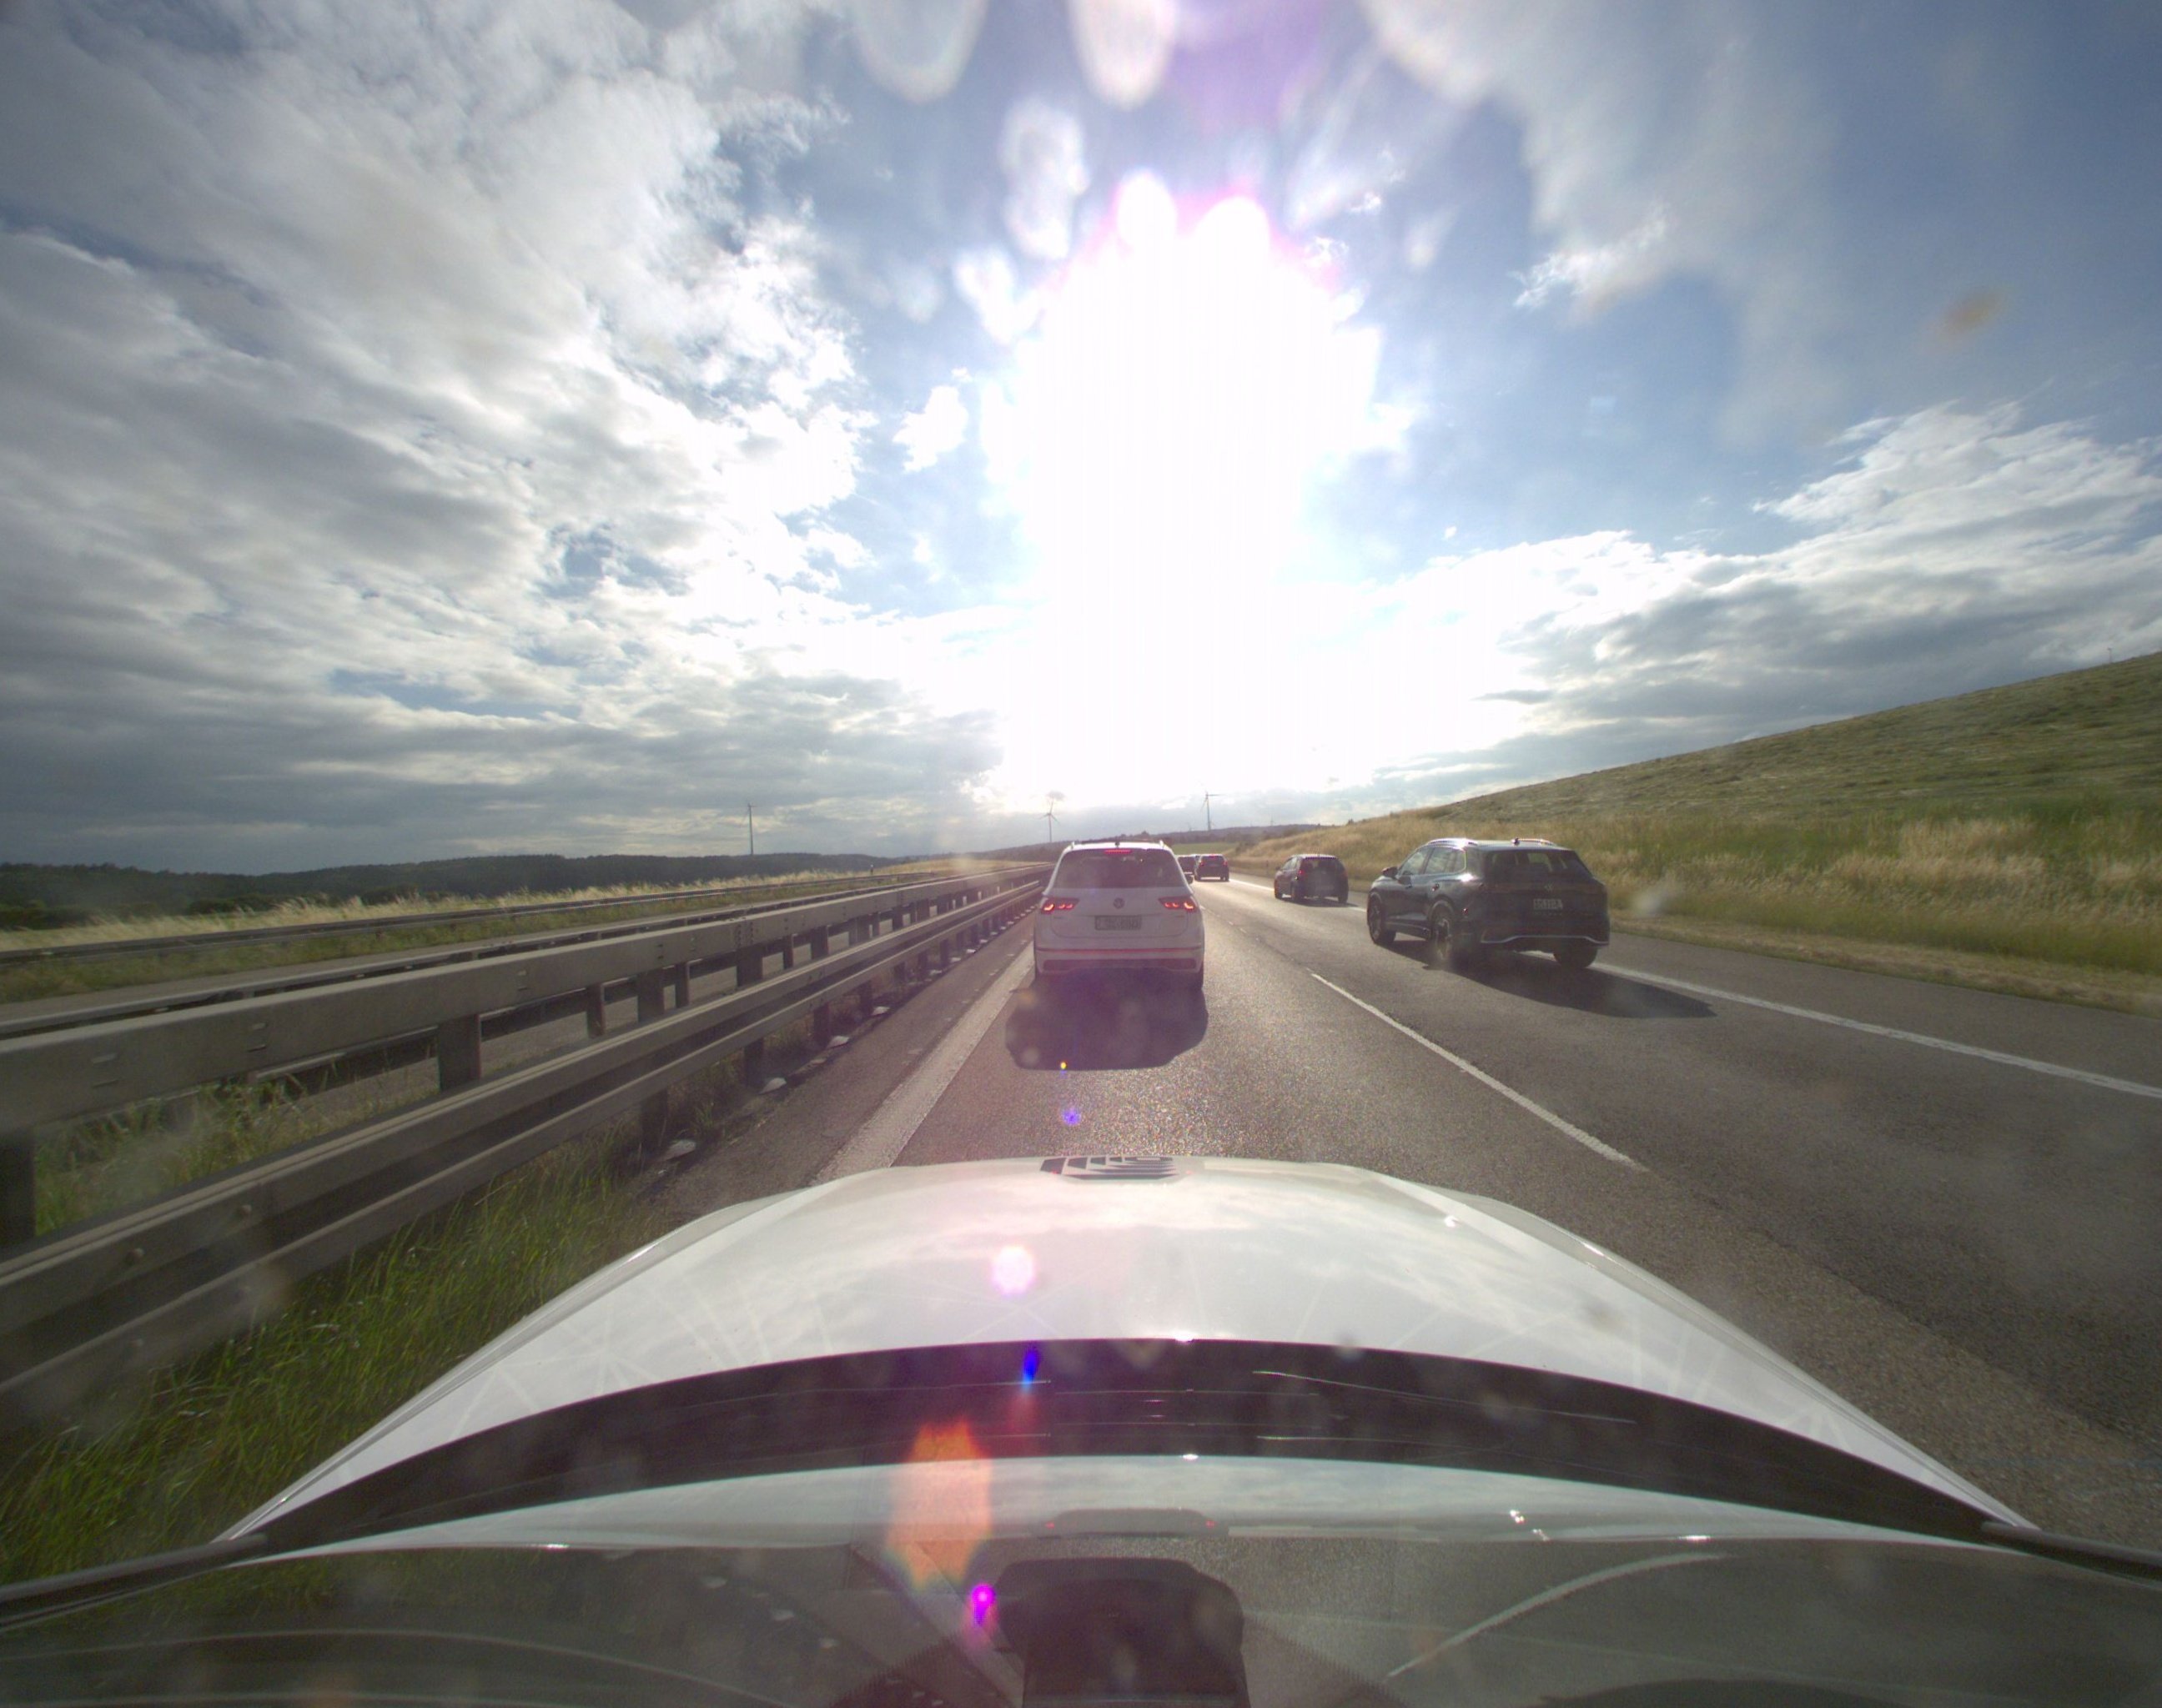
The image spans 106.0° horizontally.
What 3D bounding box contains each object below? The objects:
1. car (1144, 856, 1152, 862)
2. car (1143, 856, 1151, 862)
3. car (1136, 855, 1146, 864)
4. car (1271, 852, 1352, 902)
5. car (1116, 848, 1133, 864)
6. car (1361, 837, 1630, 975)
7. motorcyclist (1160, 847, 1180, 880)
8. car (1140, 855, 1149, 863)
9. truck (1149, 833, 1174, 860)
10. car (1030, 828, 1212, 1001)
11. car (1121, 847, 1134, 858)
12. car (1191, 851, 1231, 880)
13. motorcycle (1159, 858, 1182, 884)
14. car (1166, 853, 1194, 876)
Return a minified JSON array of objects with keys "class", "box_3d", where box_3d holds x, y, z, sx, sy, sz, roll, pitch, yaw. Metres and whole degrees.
[{"class":"car","box_3d":[15.809,1.162,193.396,1.697,1.546,4.002,-1,0,2]},{"class":"car","box_3d":[16.226,1.198,199.879,1.697,1.546,4.002,-1,0,2]},{"class":"car","box_3d":[11.082,0.993,151.117,1.697,1.546,4.002,-1,0,2]},{"class":"car","box_3d":[7.098,0.668,25.409,1.599,1.420,3.675,-1,0,3]},{"class":"car","box_3d":[4.611,0.253,86.303,1.697,1.650,4.002,-1,0,2]},{"class":"car","box_3d":[5.564,0.618,11.622,1.814,1.601,4.236,0,0,2]},{"class":"motorcyclist","box_3d":[4.278,0.465,39.029,0.846,1.560,0.934,-1,-1,1]},{"class":"car","box_3d":[12.695,1.017,162.649,1.697,1.546,4.002,-1,0,2]},{"class":"truck","box_3d":[11.557,-1.058,117.648,3.170,3.593,11.142,-1,0,4]},{"class":"car","box_3d":[0.465,0.612,10.041,1.763,1.675,4.002,-1,0,2]},{"class":"car","box_3d":[6.641,-0.172,116.243,1.697,1.546,4.002,-1,0,2]},{"class":"car","box_3d":[7.244,0.630,45.543,1.697,1.546,4.002,-1,0,2]},{"class":"motorcycle","box_3d":[4.284,0.796,39.069,0.892,1.190,2.257,-1,0,1]},{"class":"car","box_3d":[7.267,0.767,60.013,1.697,1.650,4.002,-1,0,2]}]
